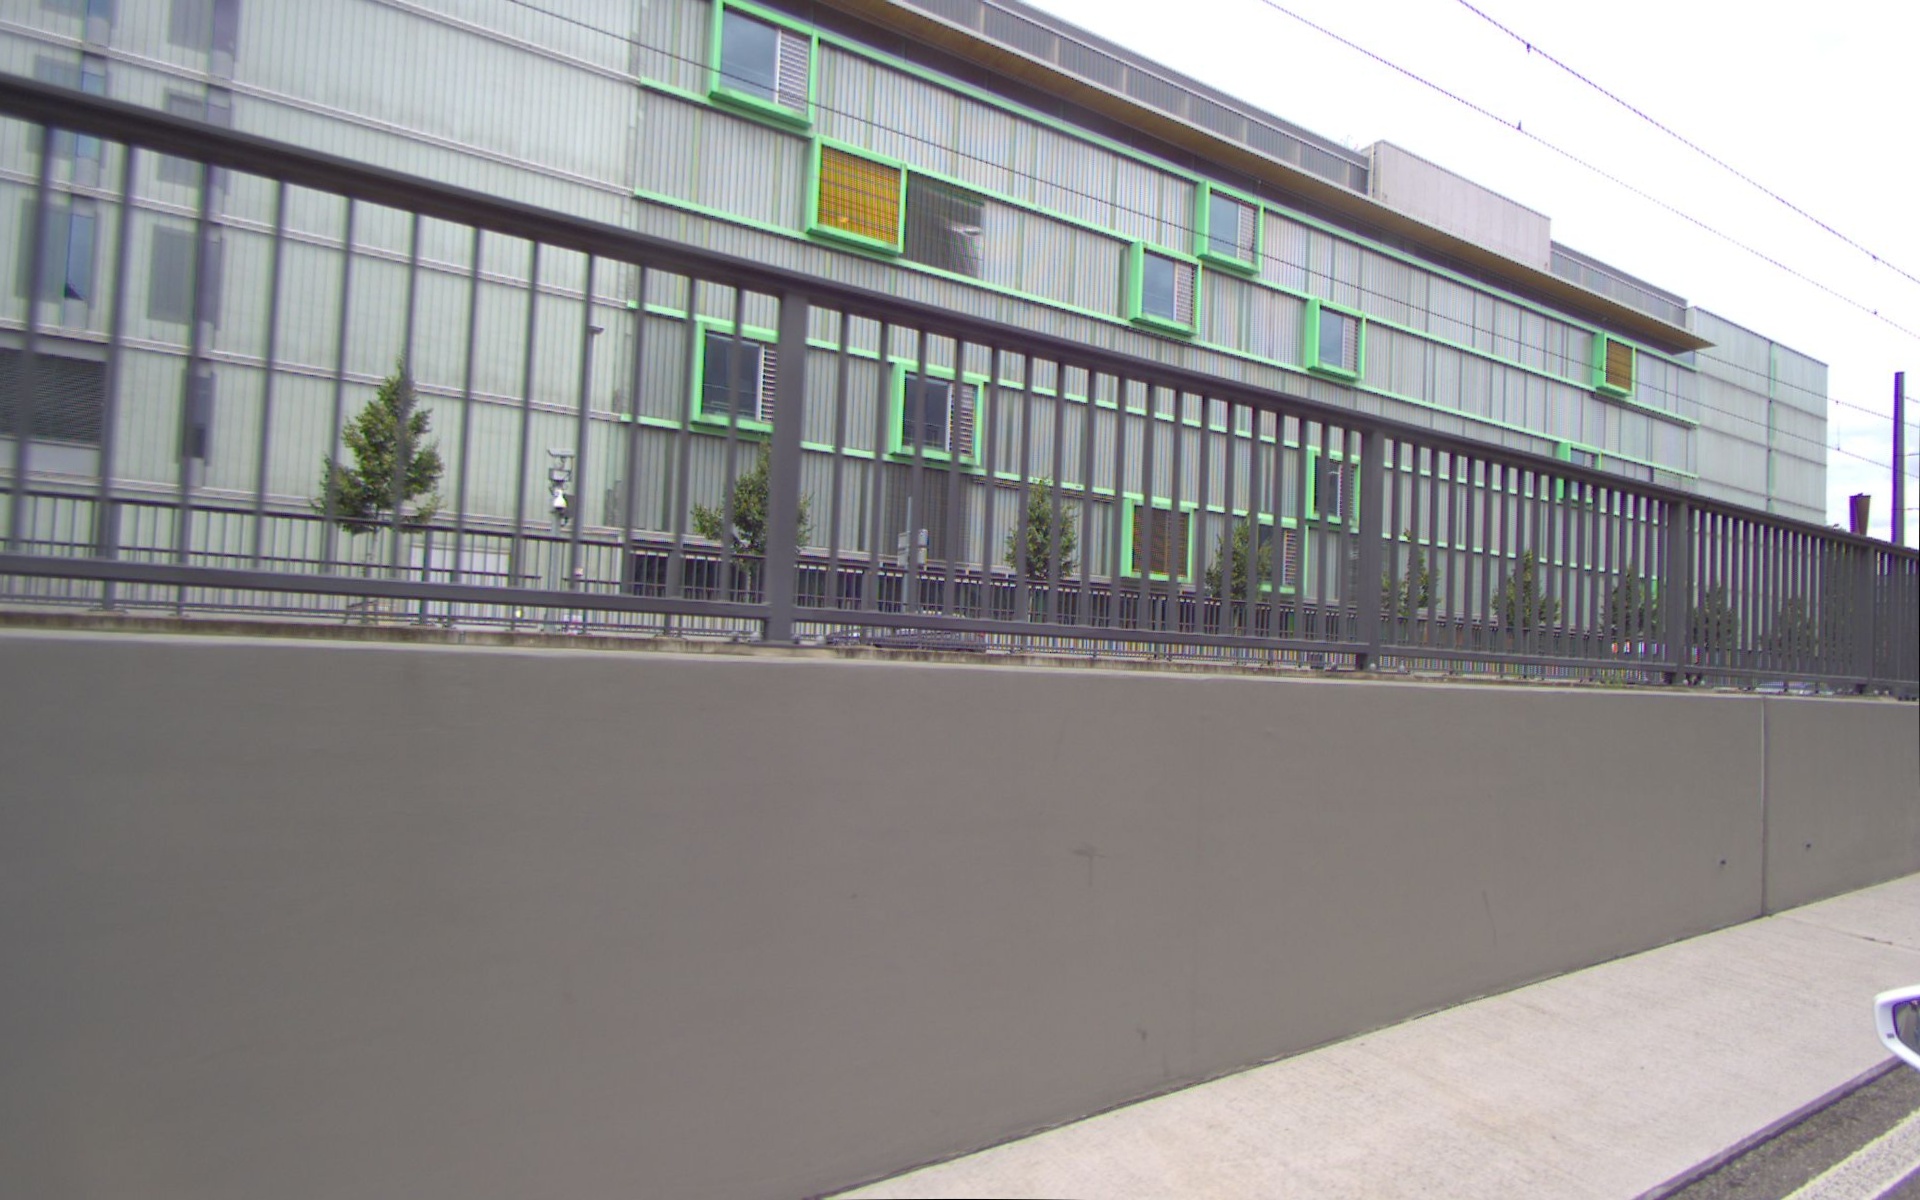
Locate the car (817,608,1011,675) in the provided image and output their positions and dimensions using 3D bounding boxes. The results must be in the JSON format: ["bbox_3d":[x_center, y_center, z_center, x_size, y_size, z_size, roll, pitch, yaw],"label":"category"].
[{"bbox_3d":[-1.178,1.100,26.433,4.708,1.613,1.985,2,-2,-29],"label":"car"}]
